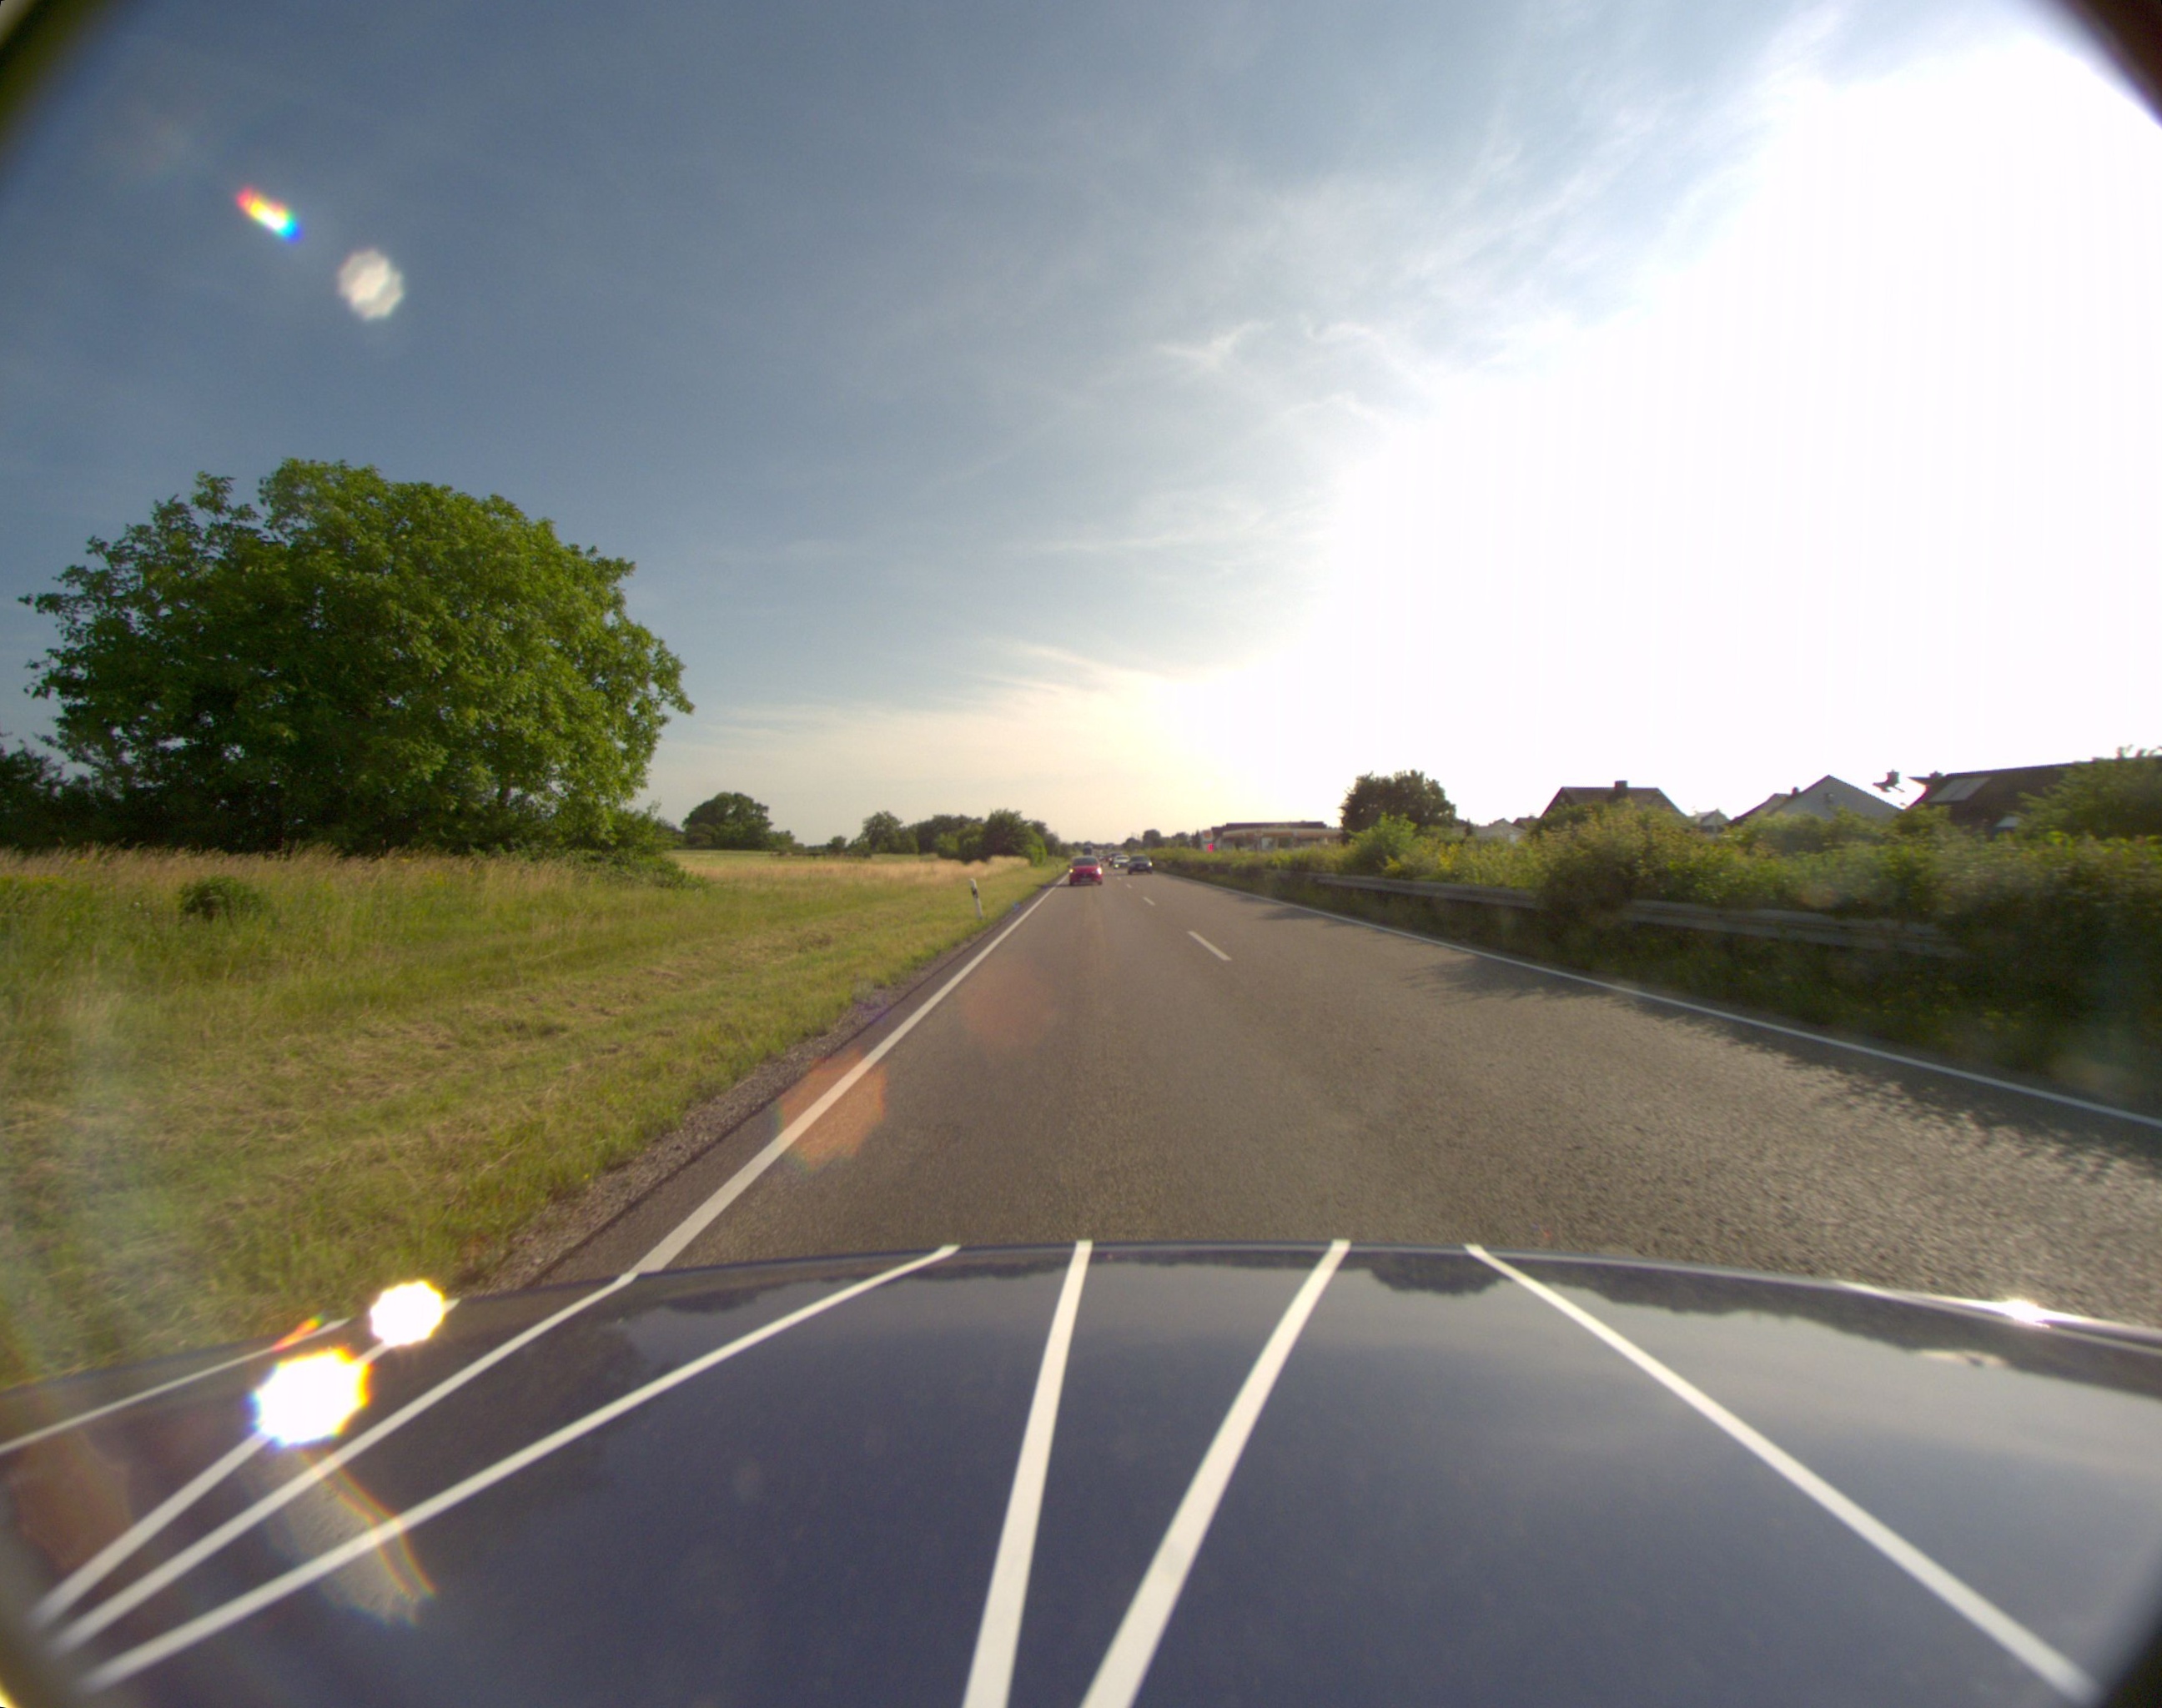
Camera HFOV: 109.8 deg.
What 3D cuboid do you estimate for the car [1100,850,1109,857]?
[{"bbox_3d":[5.686,-0.104,184.149,1.998,1.412,4.000,-2,1,2],"label":"car"}]

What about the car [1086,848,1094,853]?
[{"bbox_3d":[2.554,-1.040,217.038,1.998,1.412,4.000,-2,1,2],"label":"car"}]

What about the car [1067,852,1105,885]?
[{"bbox_3d":[0.313,0.745,40.464,1.821,1.565,4.000,-2,1,2],"label":"car"}]

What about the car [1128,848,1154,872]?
[{"bbox_3d":[4.521,0.403,57.786,1.693,1.695,4.000,-2,1,1],"label":"car"}]

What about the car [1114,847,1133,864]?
[{"bbox_3d":[4.593,0.172,82.599,1.998,1.762,4.000,-2,1,2],"label":"car"}]

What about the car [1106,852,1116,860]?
[{"bbox_3d":[6.047,0.423,155.359,1.998,1.412,4.000,-2,1,2],"label":"car"}]
